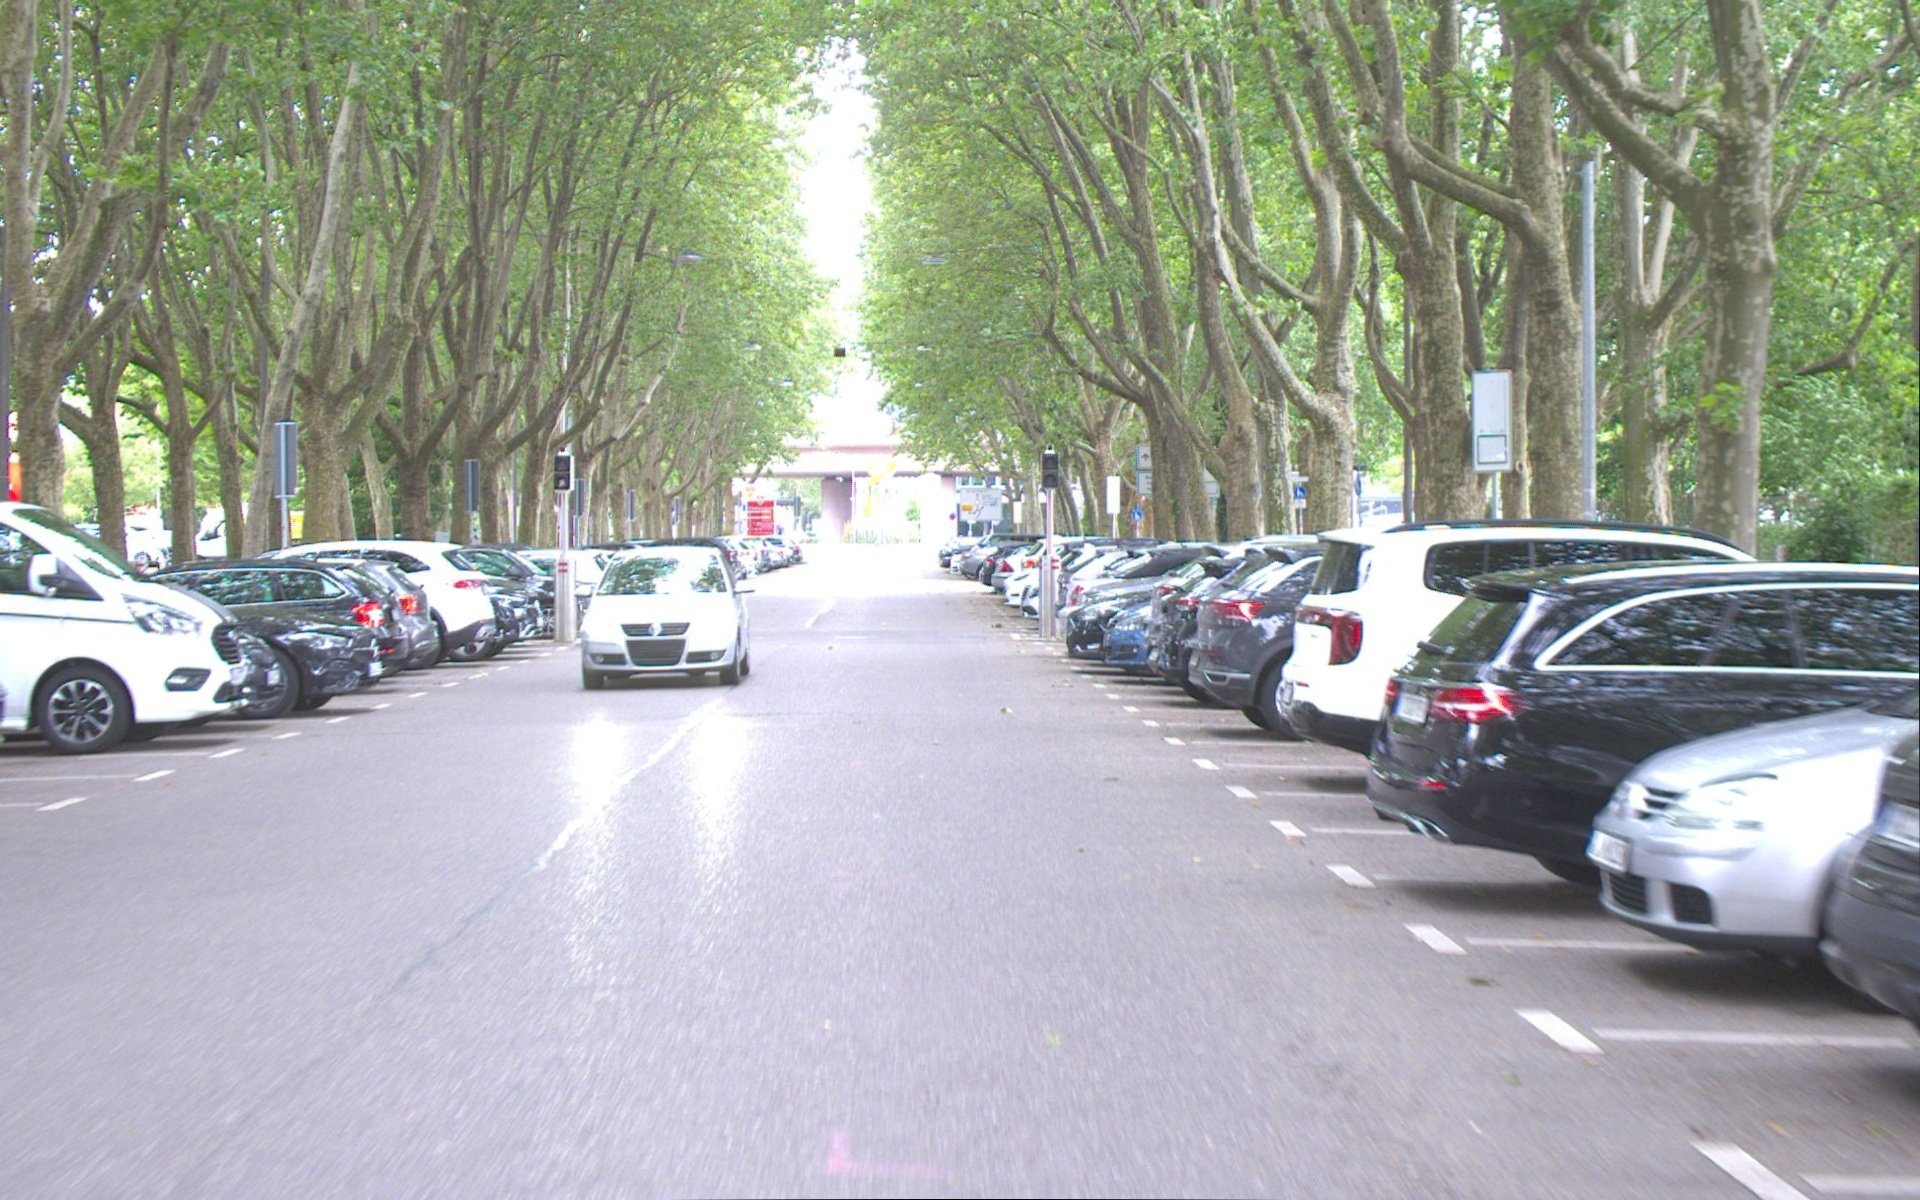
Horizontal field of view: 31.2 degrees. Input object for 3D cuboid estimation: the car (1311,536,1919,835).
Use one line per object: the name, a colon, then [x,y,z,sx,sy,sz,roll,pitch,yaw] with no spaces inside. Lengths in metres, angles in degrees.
car: [4.195,0.456,19.325,4.185,1.551,1.701,1,1,-3]

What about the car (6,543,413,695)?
car: [-7.915,0.182,36.495,3.995,1.466,1.537,-2,1,-4]

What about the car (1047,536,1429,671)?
car: [3.167,0.027,39.672,4.211,1.446,1.611,1,1,-2]

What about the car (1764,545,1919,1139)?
car: [4.480,0.656,9.449,4.044,1.520,1.815,1,1,-3]

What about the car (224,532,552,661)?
car: [-7.691,-0.065,46.478,4.068,1.602,1.799,-2,1,2]

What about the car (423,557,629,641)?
car: [-8.381,-0.028,66.595,3.826,1.492,1.695,-2,1,-4]

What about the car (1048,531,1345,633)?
car: [3.585,-0.284,52.556,4.366,1.465,1.624,1,1,-2]

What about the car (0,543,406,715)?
car: [-7.548,0.266,31.855,4.449,1.447,1.774,-2,1,4]

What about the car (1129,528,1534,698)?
car: [3.700,0.113,34.674,3.826,1.602,1.695,1,1,-2]

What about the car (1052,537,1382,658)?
car: [3.304,-0.049,44.713,4.113,1.465,1.694,1,1,-1]

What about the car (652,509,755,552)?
car: [-10.305,-2.802,138.284,3.814,1.597,1.785,-2,1,5]

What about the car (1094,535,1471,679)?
car: [3.432,0.061,37.026,3.826,1.450,1.695,1,1,-2]

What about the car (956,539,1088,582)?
car: [2.206,-1.401,121.419,4.575,1.481,2.000,1,1,4]

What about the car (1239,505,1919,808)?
car: [4.068,0.332,21.590,4.383,1.749,1.801,1,1,-3]

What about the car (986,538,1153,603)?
car: [2.513,-0.693,79.708,3.645,1.419,1.986,1,1,-4]

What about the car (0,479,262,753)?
car: [-8.079,0.152,26.706,4.893,2.012,1.920,-2,1,-2]

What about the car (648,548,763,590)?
car: [-9.004,-1.099,121.629,3.814,1.349,1.662,-2,1,5]

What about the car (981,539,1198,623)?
car: [2.579,-0.395,69.358,4.166,1.591,1.855,1,1,-4]

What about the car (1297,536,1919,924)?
car: [3.828,0.533,14.778,4.501,1.520,1.703,1,1,-3]

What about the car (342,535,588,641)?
car: [-8.082,-0.210,56.391,3.826,1.602,1.695,-2,1,-4]

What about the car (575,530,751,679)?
car: [-3.140,0.006,36.962,1.688,1.466,3.840,-2,1,-3]

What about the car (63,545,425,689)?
car: [-8.158,0.170,39.446,3.755,1.469,1.865,-2,1,-2]

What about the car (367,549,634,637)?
car: [-7.863,-0.131,59.080,4.400,1.360,1.695,-2,1,-4]

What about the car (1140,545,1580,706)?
car: [3.674,0.218,32.032,3.826,1.384,1.695,1,1,-2]

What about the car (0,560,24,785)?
car: [-8.046,0.550,21.347,3.986,1.408,1.683,-2,1,-3]

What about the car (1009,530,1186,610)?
car: [2.963,-0.658,74.529,3.645,1.661,1.519,1,1,-4]

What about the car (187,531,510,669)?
car: [-7.758,-0.021,43.939,3.826,1.622,1.953,-2,1,-4]

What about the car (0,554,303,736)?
car: [-8.059,0.394,29.605,4.448,1.447,1.774,-2,1,-2]

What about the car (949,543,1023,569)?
car: [1.531,-2.607,203.102,4.376,1.517,1.731,1,1,0]

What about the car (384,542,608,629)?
car: [-8.267,-0.265,61.538,3.826,1.425,1.695,-2,1,-4]

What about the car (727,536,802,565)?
car: [-10.435,-2.639,183.665,3.814,1.510,1.686,1,1,2]

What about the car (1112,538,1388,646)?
car: [4.137,-0.131,49.485,3.775,1.465,1.667,1,1,-1]

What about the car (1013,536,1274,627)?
car: [3.134,-0.327,59.311,4.296,1.465,1.624,1,1,-4]

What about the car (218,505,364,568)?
car: [-24.638,-2.332,126.715,5.077,2.224,1.536,1,1,-2]

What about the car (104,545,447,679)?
car: [-8.225,0.129,41.551,3.826,1.466,1.695,-2,1,-4]

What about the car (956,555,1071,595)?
car: [2.012,-0.940,128.688,4.176,1.437,1.731,1,1,4]

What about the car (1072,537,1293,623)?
car: [4.000,-0.369,62.123,3.775,1.465,1.624,1,1,-4]

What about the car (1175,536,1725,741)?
car: [3.770,0.276,26.873,3.986,1.481,1.695,1,1,-2]

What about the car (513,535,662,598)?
car: [-9.900,-0.904,91.587,3.826,1.549,1.695,-2,1,-4]

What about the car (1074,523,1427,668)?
car: [3.497,-0.071,41.871,4.113,1.664,1.694,1,1,0]
